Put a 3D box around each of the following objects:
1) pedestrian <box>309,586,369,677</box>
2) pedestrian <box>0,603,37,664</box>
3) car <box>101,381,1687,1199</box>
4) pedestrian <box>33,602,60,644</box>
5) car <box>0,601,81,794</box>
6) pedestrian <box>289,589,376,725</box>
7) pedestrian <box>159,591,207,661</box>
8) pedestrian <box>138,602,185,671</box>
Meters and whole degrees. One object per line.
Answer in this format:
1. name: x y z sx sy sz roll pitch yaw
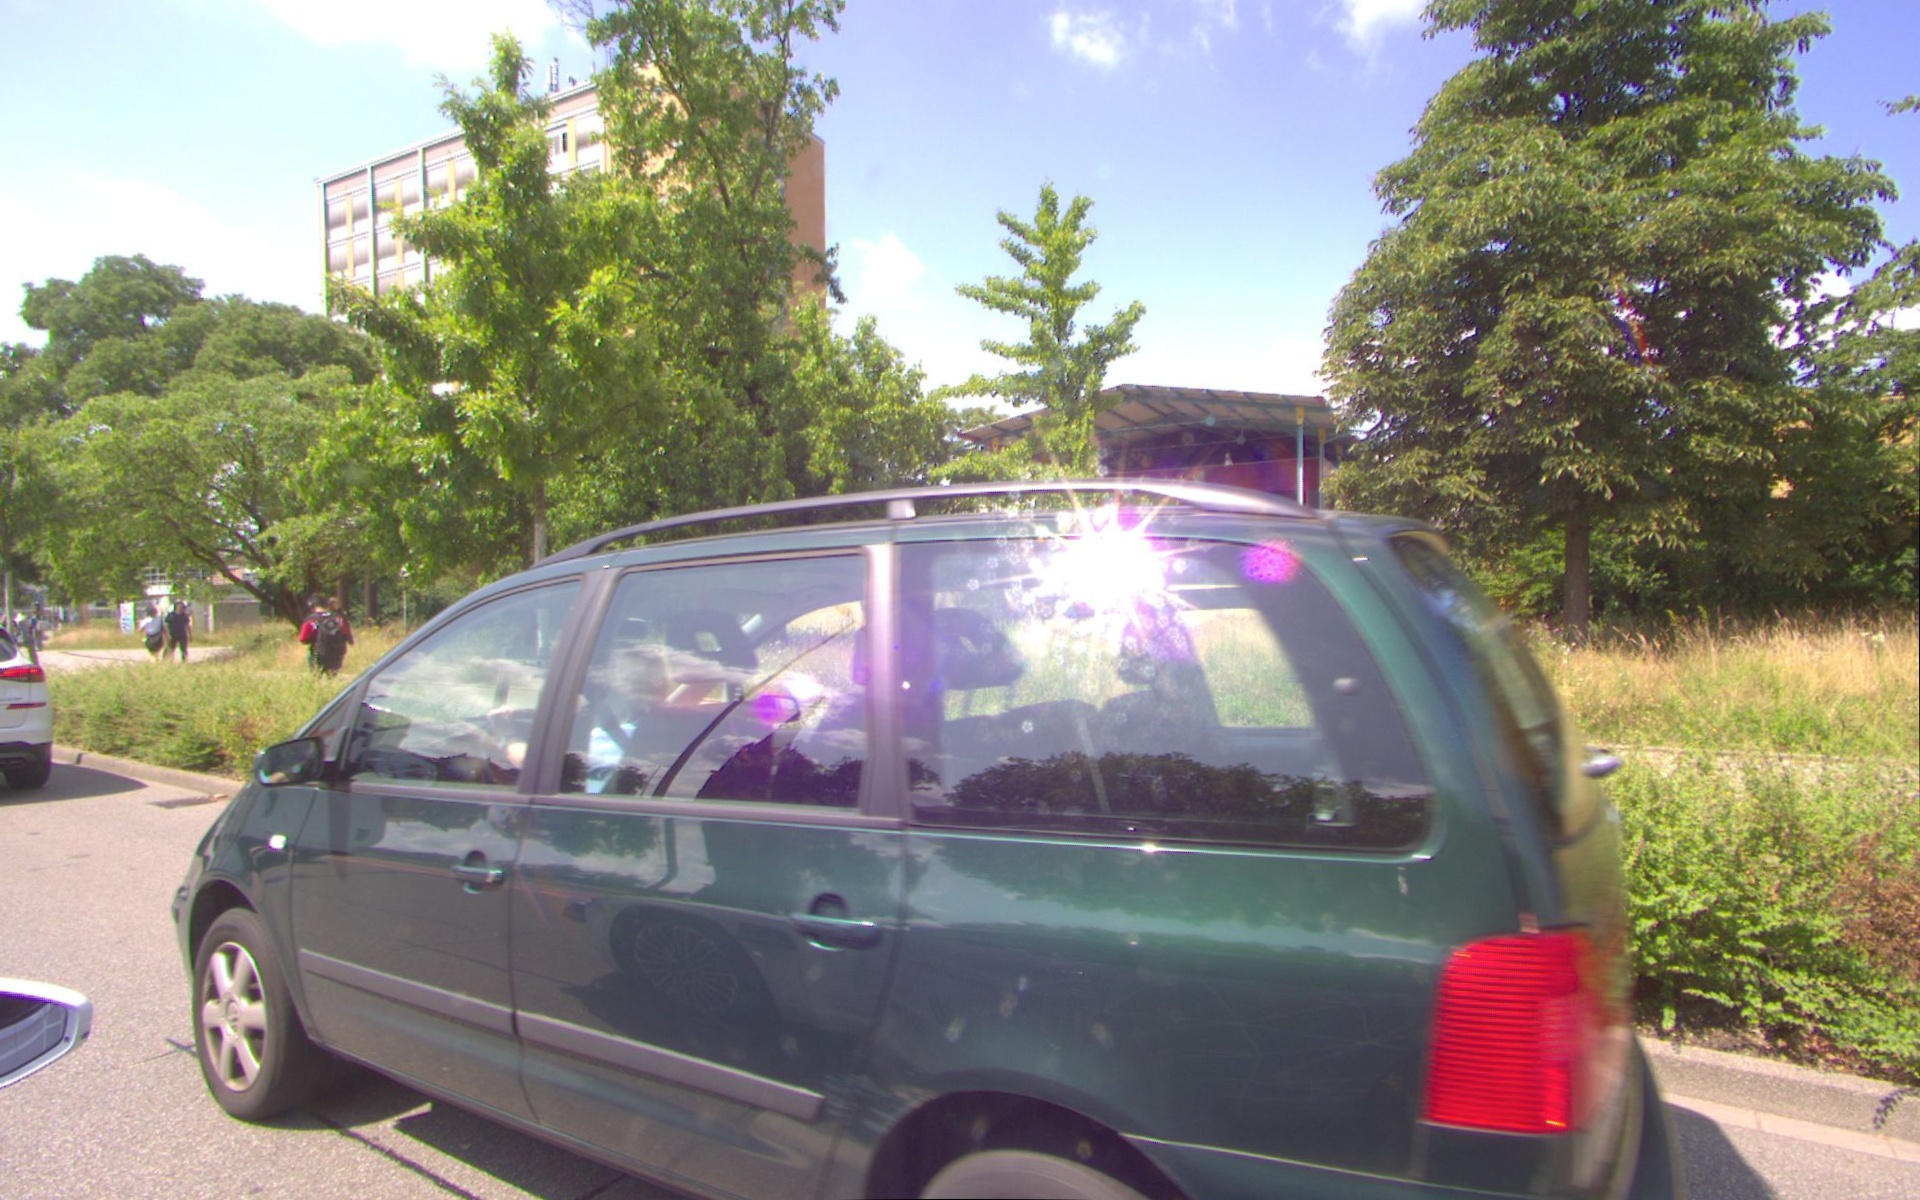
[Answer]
1. pedestrian: -12.396 0.612 19.979 0.865 1.774 0.665 0 2 32
2. pedestrian: -28.169 0.988 29.913 0.600 1.770 0.666 0 2 27
3. car: -0.605 0.688 3.003 4.385 1.745 1.791 0 -2 33
4. pedestrian: -39.750 0.996 43.566 0.602 1.776 0.746 0 2 39
5. car: -10.223 0.854 9.490 4.175 1.663 1.876 0 0 34
6. pedestrian: -8.531 0.748 13.614 0.836 1.774 0.665 0 2 32
7. pedestrian: -20.159 0.673 25.978 0.657 1.774 0.747 0 2 32
8. pedestrian: -18.976 0.854 23.794 0.638 1.618 0.665 0 2 32
